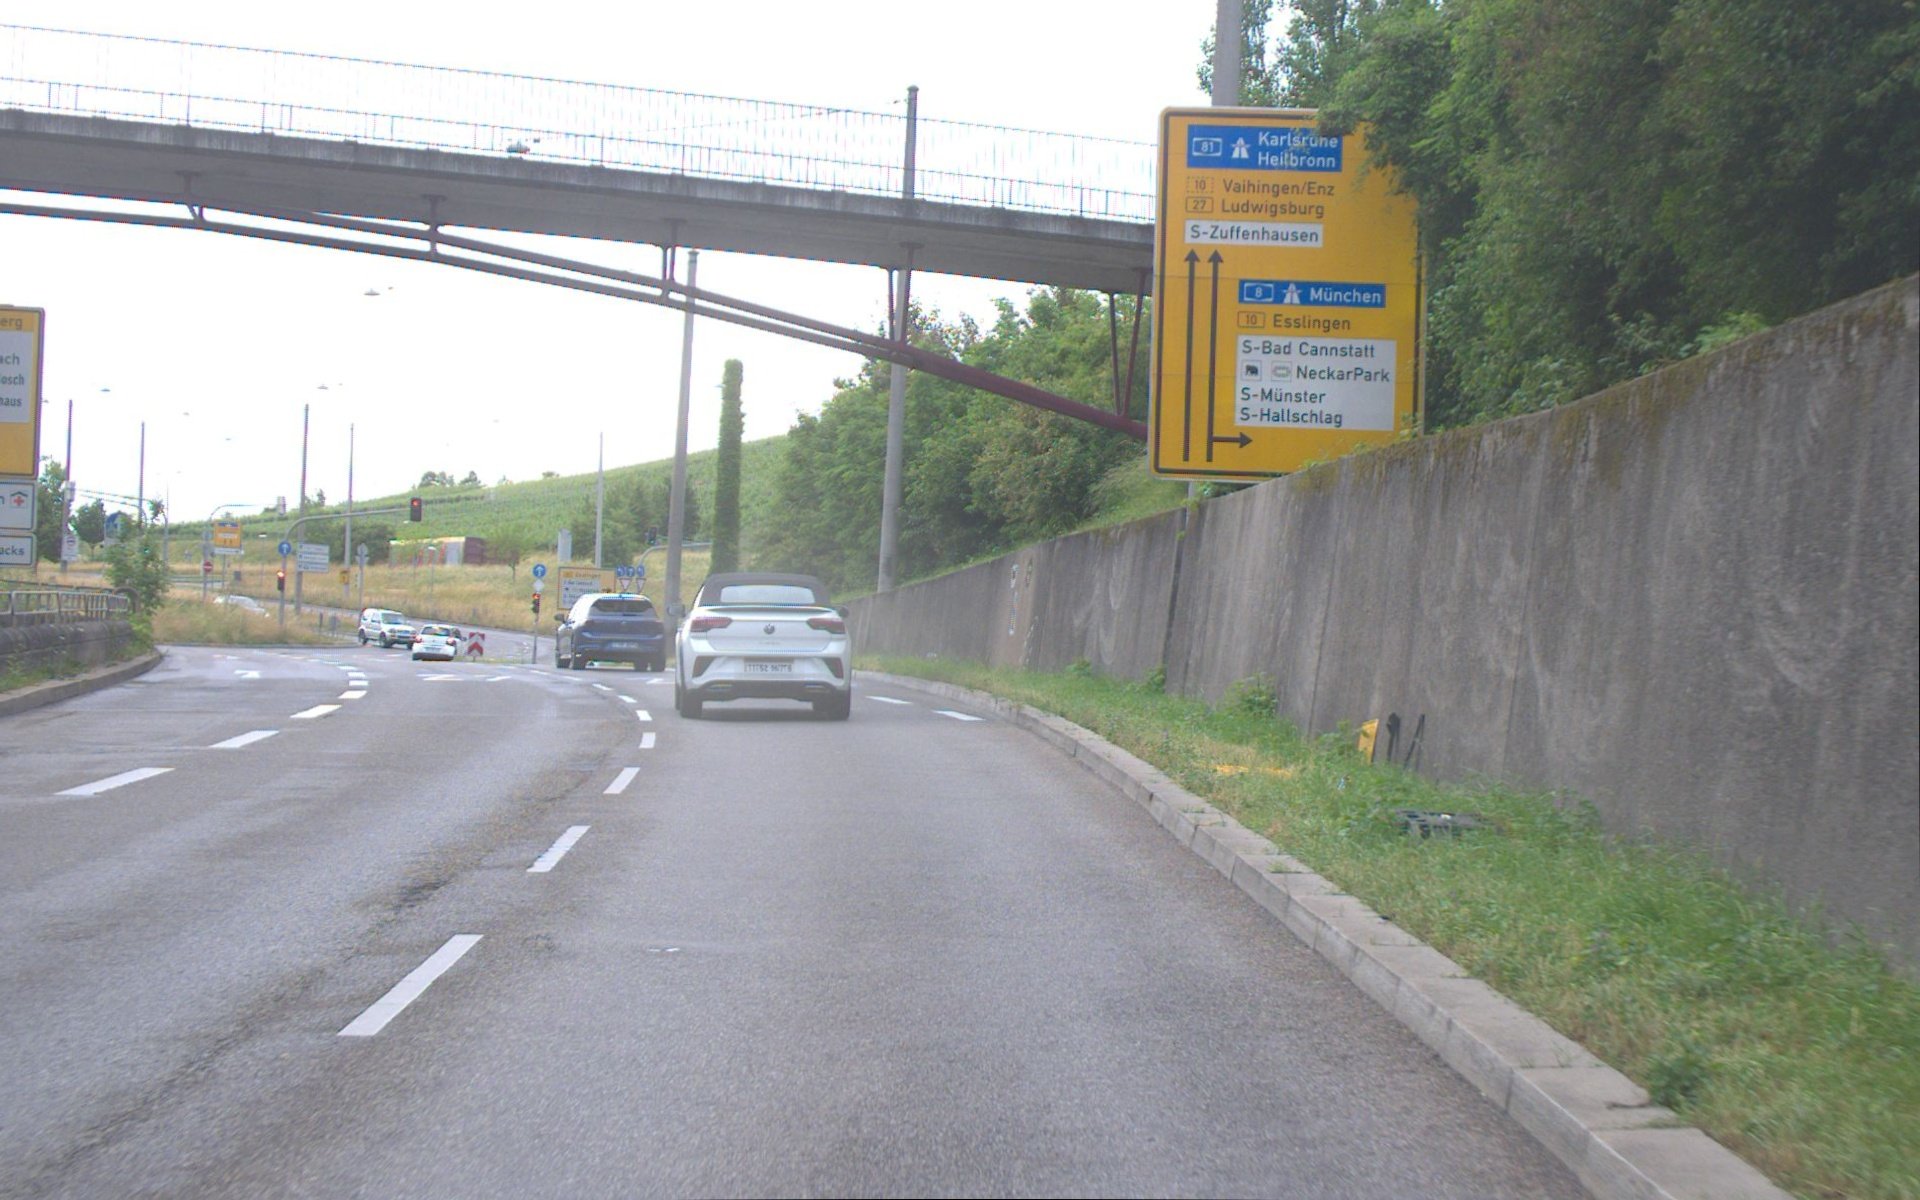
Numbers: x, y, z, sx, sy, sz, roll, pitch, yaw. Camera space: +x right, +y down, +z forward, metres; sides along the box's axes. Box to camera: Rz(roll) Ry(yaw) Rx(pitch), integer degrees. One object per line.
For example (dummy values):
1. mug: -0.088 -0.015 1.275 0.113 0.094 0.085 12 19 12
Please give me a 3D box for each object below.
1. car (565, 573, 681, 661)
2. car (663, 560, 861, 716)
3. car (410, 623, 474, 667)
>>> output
1. car: -6.497 0.305 65.934 1.926 1.594 4.062 0 1 -9
2. car: -2.189 0.366 37.075 1.995 1.573 4.126 0 1 -5
3. car: -20.270 1.762 134.601 1.774 1.514 3.724 5 -2 1
